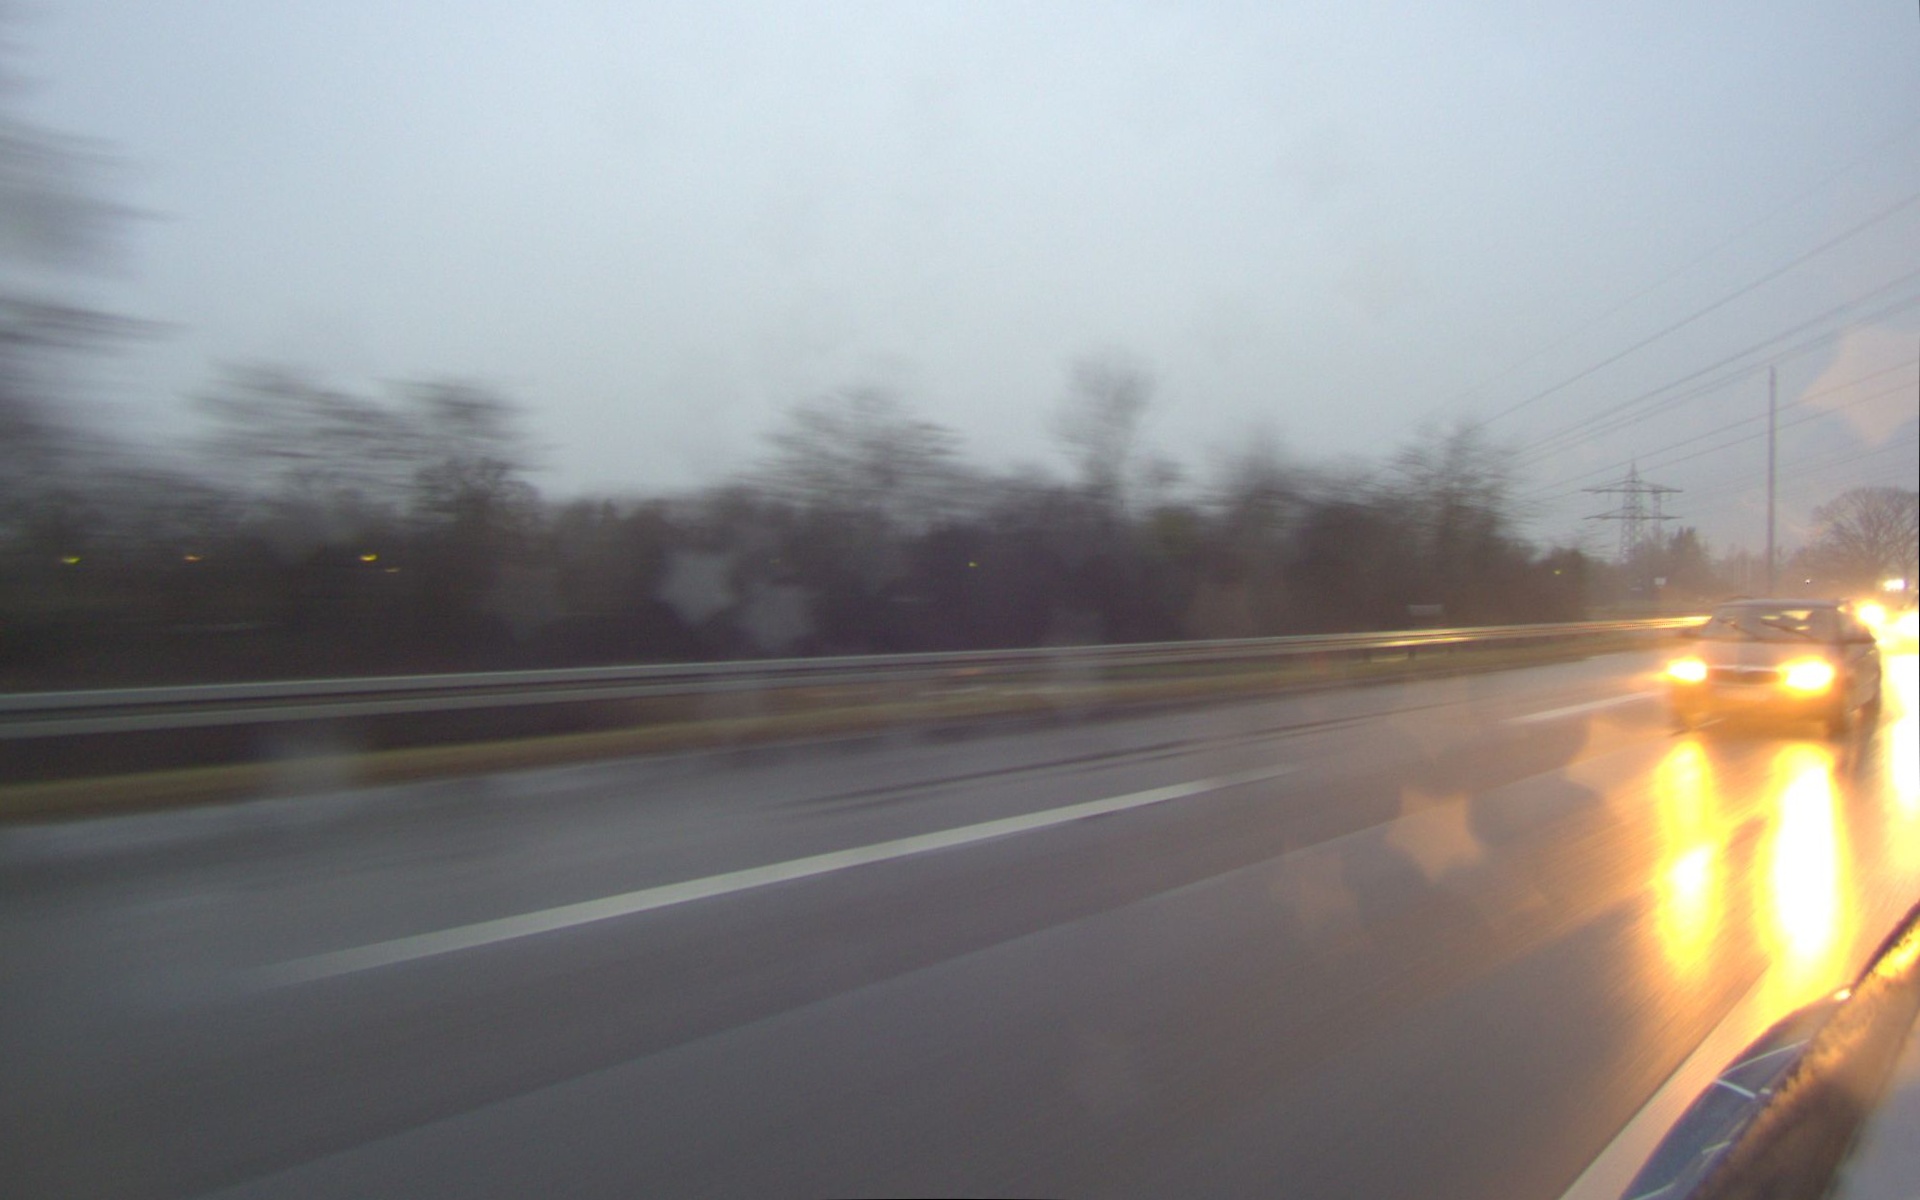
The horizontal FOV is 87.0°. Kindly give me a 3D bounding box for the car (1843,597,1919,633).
[{"bbox_3d":[39.654,0.610,43.416,3.747,1.452,1.794,0,1,-35],"label":"car"}]

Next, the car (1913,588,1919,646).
[{"bbox_3d":[27.177,0.431,27.368,3.742,1.528,1.681,-1,1,-41],"label":"car"}]

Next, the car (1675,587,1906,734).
[{"bbox_3d":[10.090,0.602,12.219,3.531,1.509,1.597,-1,1,-41],"label":"car"}]
